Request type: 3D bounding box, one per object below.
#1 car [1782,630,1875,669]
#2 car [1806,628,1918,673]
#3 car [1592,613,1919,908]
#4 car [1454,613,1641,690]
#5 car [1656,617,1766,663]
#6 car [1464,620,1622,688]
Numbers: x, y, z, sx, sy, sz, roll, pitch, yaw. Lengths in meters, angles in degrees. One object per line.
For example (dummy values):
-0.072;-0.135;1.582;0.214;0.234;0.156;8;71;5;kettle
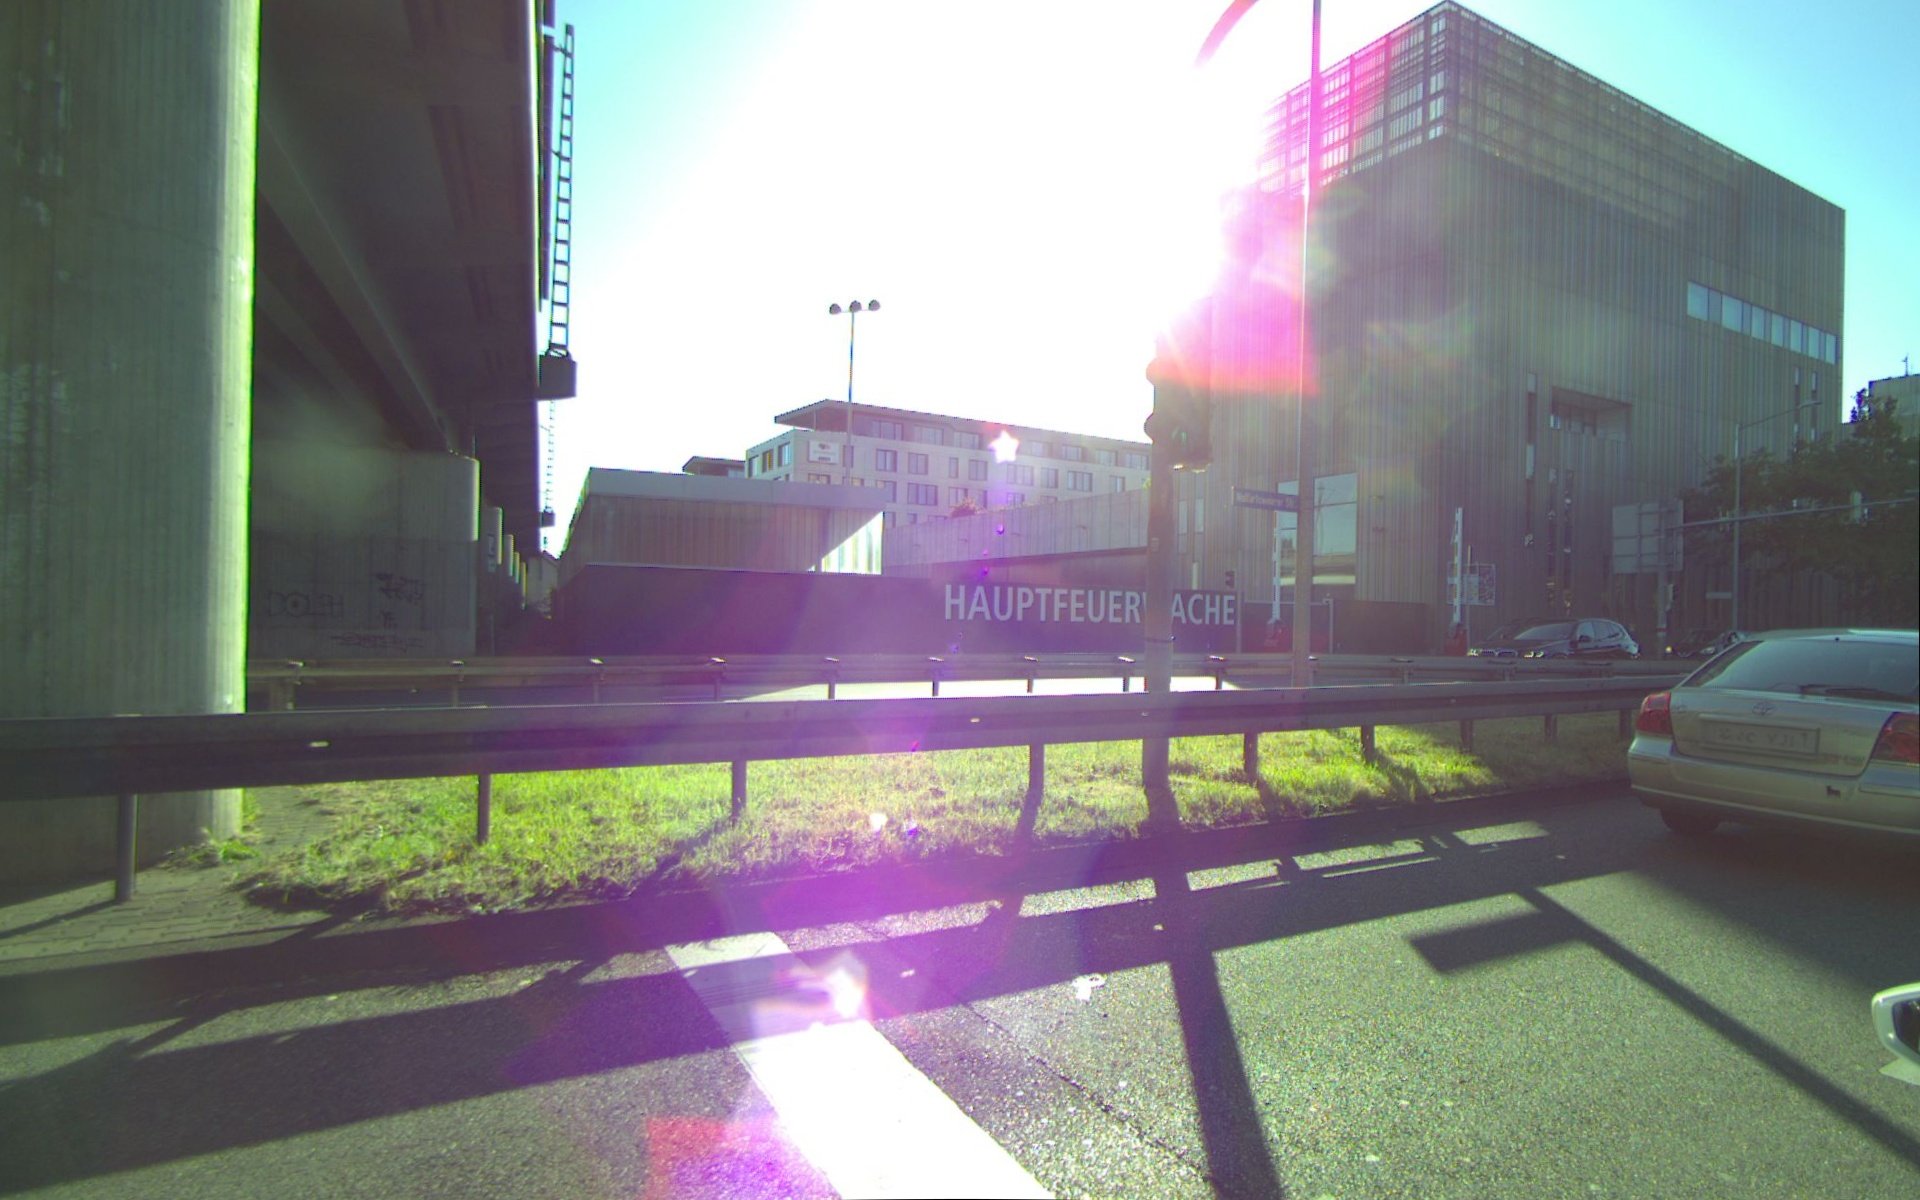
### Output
33.929;1.935;39.242;3.449;1.453;1.640;2;-3;-28;car
30.104;1.683;33.504;3.931;1.423;1.639;2;-3;-30;car
6.445;0.910;6.925;4.268;1.499;1.725;2;-1;-30;car
13.721;1.206;23.420;4.477;1.646;1.816;2;-3;-30;car
26.060;1.420;34.845;3.931;1.501;1.639;2;-3;-30;car
16.433;1.530;28.265;4.575;1.760;1.816;2;-3;-30;car
